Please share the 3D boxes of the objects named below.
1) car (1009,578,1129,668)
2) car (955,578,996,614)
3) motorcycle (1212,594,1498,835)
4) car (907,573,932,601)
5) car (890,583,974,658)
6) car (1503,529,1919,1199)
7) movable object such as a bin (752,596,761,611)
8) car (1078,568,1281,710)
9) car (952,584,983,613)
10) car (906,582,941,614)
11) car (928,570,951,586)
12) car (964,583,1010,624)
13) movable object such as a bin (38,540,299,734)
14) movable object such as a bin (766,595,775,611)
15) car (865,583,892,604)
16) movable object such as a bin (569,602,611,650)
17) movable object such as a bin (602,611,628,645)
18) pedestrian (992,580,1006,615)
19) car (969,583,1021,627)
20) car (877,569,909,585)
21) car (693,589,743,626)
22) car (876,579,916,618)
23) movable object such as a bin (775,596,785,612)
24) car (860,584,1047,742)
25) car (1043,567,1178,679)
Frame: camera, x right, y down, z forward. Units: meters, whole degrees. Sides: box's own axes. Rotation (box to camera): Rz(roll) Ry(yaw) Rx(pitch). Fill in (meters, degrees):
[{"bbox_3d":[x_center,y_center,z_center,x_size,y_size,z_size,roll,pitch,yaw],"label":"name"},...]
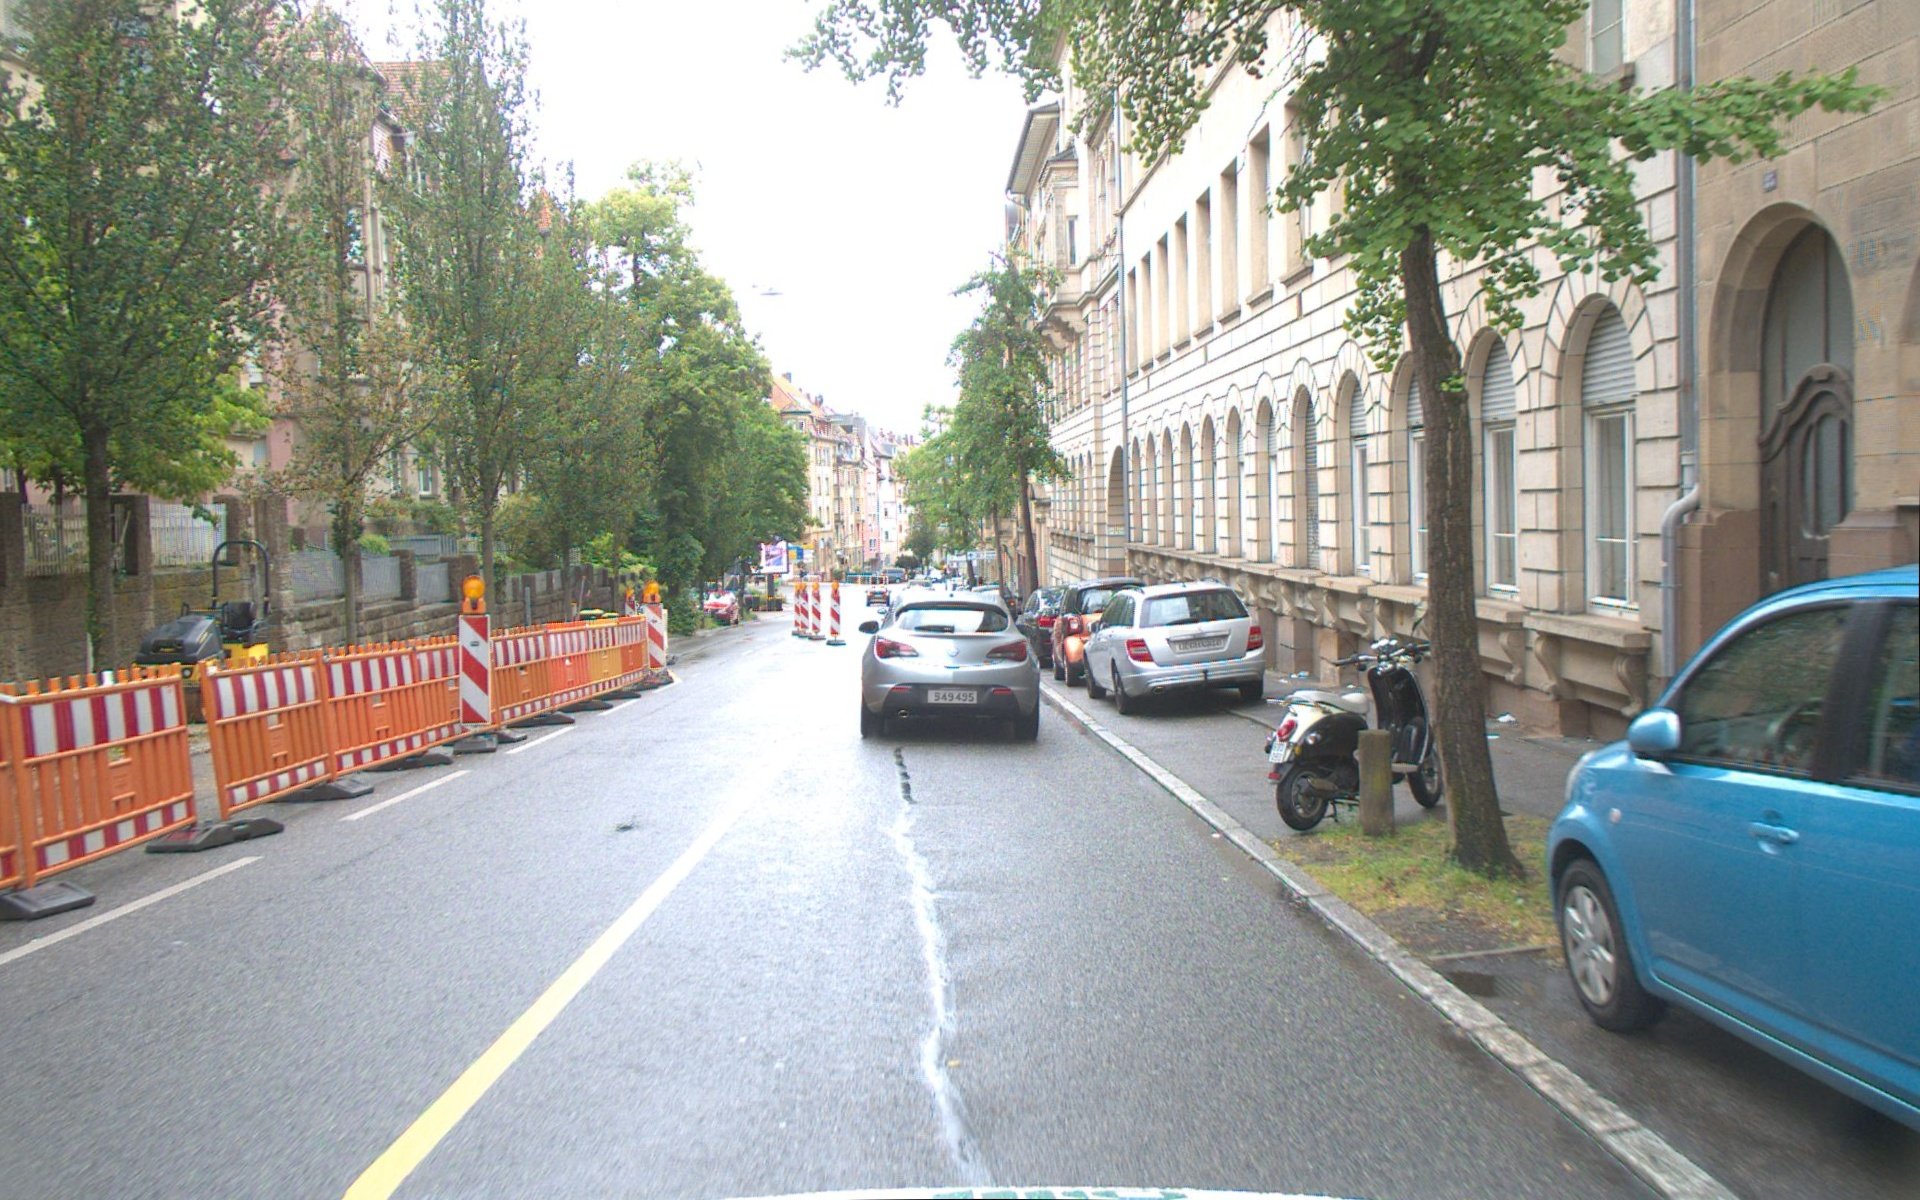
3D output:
[{"bbox_3d":[2.038,0.381,32.157,1.723,1.486,4.721,-4,1,-3],"label":"car"},{"bbox_3d":[0.712,-0.206,78.710,1.605,1.630,3.855,-2,1,-4],"label":"car"},{"bbox_3d":[2.492,0.654,10.296,1.919,1.257,0.648,-5,2,-38],"label":"motorcycle"},{"bbox_3d":[-2.701,-0.869,109.756,1.623,1.813,3.664,0,0,-1],"label":"car"},{"bbox_3d":[-0.598,0.404,36.072,1.736,1.530,3.869,0,1,-1],"label":"car"},{"bbox_3d":[2.948,0.575,4.406,1.623,1.569,3.664,-3,1,-2],"label":"car"},{"bbox_3d":[-14.174,0.247,115.190,0.613,1.077,0.633,1,0,-8],"label":"movable object such as a bin"},{"bbox_3d":[2.604,0.405,20.619,1.661,1.456,4.420,-4,1,-3],"label":"car"},{"bbox_3d":[0.401,-0.122,93.465,1.604,1.551,3.857,-2,1,-1],"label":"car"},{"bbox_3d":[-1.985,-0.130,88.455,1.624,1.569,3.662,-3,1,-4],"label":"car"},{"bbox_3d":[-2.324,-2.504,190.393,1.951,1.713,4.003,1,0,8],"label":"car"},{"bbox_3d":[1.015,0.107,63.796,1.604,1.494,3.857,-2,1,-1],"label":"car"},{"bbox_3d":[-10.387,0.433,21.936,1.952,2.339,2.816,-2,1,2],"label":"movable object such as a bin"},{"bbox_3d":[-13.215,0.220,115.153,0.613,1.077,0.719,1,0,-8],"label":"movable object such as a bin"},{"bbox_3d":[-6.148,-0.496,124.962,1.954,1.527,3.998,-1,0,-3],"label":"car"},{"bbox_3d":[-9.814,0.693,43.880,0.925,1.235,0.856,1,1,-1],"label":"movable object such as a bin"},{"bbox_3d":[-9.650,0.778,46.262,0.591,0.923,0.623,1,1,-1],"label":"movable object such as a bin"},{"bbox_3d":[2.160,-0.128,92.096,0.701,1.903,0.635,1,0,-2],"label":"pedestrian"},{"bbox_3d":[1.228,0.153,58.636,1.604,1.454,3.375,-2,1,-2],"label":"car"},{"bbox_3d":[-8.374,-2.866,207.138,3.907,1.780,1.999,1,0,-2],"label":"car"},{"bbox_3d":[-10.560,0.311,72.409,1.604,1.464,4.079,-2,1,-1],"label":"car"},{"bbox_3d":[-2.825,-0.085,73.842,1.623,1.569,3.664,-3,1,-1],"label":"car"},{"bbox_3d":[-12.671,0.264,116.269,0.646,1.077,0.626,1,0,-10],"label":"movable object such as a bin"},{"bbox_3d":[-0.055,0.579,17.700,1.774,1.475,3.869,0,1,0],"label":"car"},{"bbox_3d":[2.310,0.320,26.127,1.606,1.546,3.182,-4,1,-3],"label":"car"}]
